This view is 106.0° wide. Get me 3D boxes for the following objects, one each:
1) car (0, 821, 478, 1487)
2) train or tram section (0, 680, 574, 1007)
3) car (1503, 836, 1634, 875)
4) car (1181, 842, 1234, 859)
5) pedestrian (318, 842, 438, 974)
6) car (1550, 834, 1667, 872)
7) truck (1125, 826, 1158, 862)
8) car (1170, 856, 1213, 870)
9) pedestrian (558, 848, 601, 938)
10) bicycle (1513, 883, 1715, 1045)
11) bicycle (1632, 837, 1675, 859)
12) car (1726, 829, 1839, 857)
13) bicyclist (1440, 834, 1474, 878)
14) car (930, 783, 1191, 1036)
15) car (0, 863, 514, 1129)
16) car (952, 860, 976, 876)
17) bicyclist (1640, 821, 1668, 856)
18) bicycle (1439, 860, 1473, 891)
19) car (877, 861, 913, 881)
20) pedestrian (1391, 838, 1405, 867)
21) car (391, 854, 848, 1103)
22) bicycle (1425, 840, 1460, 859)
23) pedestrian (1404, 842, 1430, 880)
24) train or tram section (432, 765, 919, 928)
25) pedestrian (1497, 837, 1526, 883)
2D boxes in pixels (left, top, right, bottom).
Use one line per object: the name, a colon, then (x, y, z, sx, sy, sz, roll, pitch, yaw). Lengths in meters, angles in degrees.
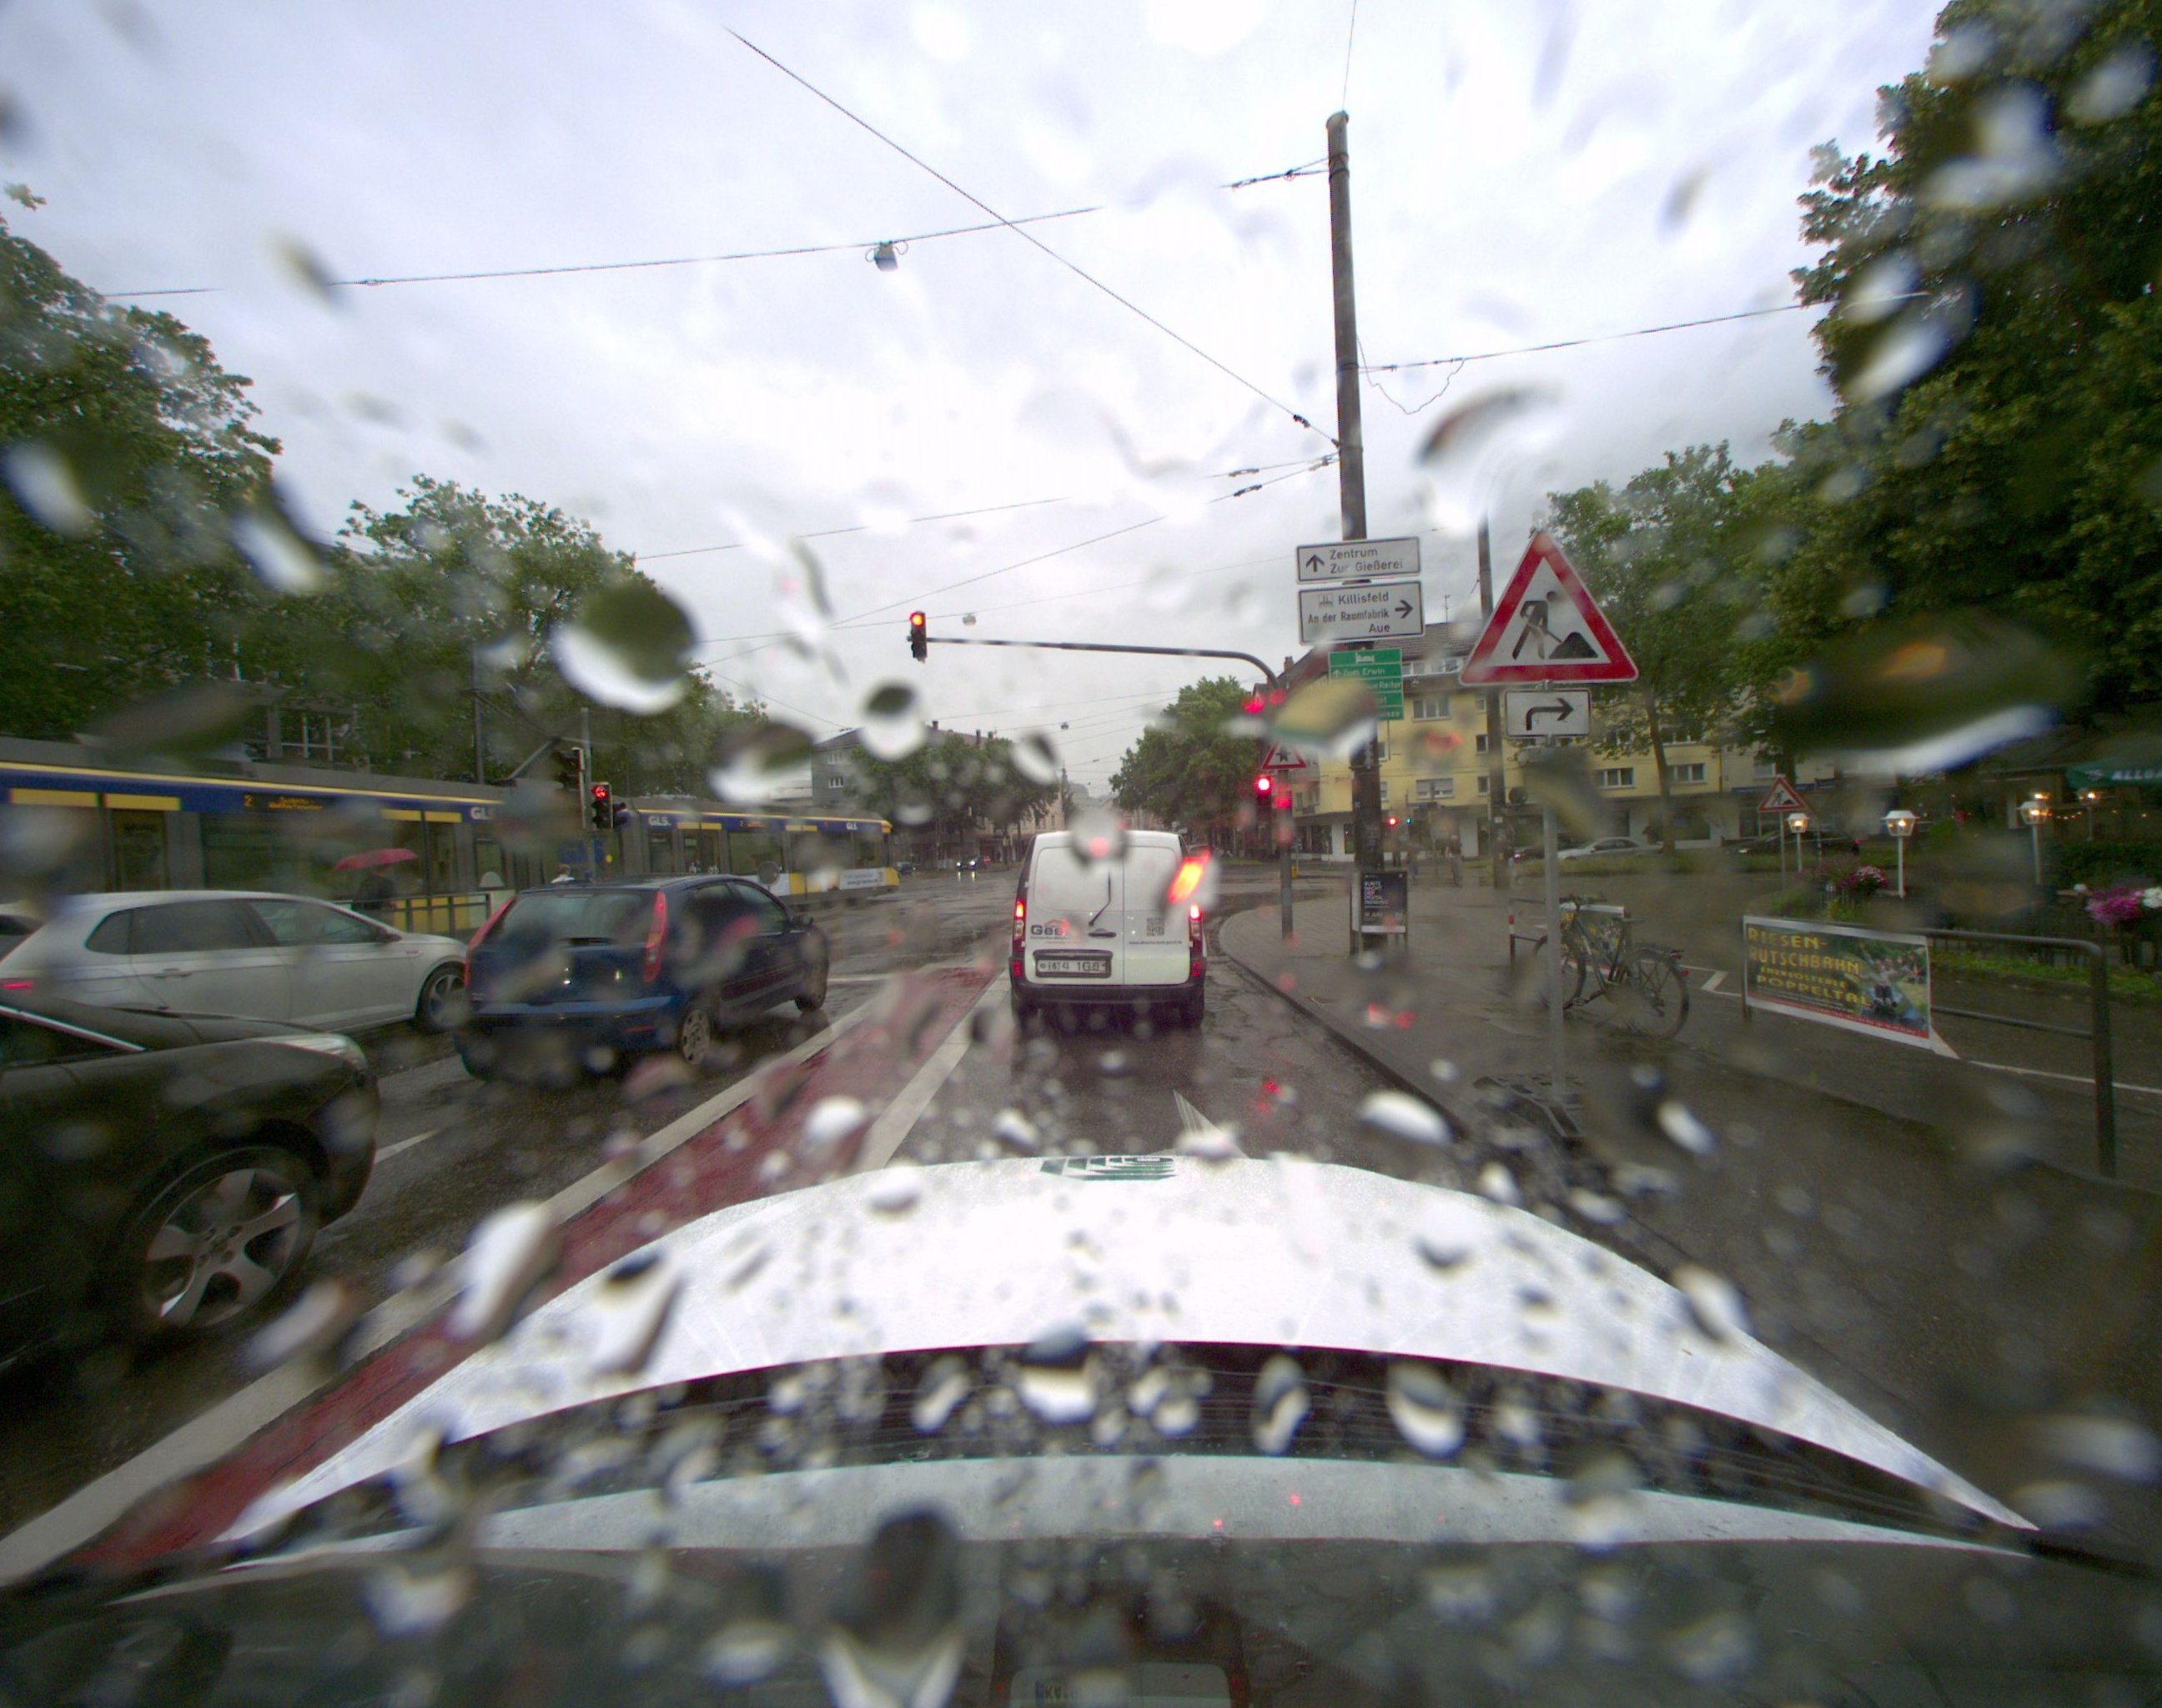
car: (-3.650, 0.765, 1.517, 1.827, 1.668, 4.174, -1, 0, 2)
train or tram section: (-13.197, -0.110, 10.712, 3.496, 3.512, 13.678, 0, 0, 5)
car: (22.854, 0.113, 38.371, 4.902, 1.643, 2.007, -1, -3, 14)
car: (10.692, -0.318, 68.869, 4.160, 1.339, 1.518, -2, 1, -6)
pedestrian: (-9.892, 0.730, 11.498, 0.763, 1.746, 0.899, -4, 1, 1)
car: (22.764, -0.048, 35.281, 3.906, 1.490, 1.815, -1, 1, 17)
truck: (9.030, -1.356, 123.346, 3.460, 5.087, 15.296, -1, 0, -2)
car: (9.572, 0.735, 70.441, 3.437, 1.130, 1.468, -1, 0, -6)
pedestrian: (-9.276, 0.703, 15.073, 0.629, 1.607, 0.735, -1, -1, -30)
bicycle: (4.484, 0.847, 7.046, 0.512, 1.107, 2.018, 1, 0, 3)
bicycle: (26.574, -0.291, 37.805, 1.631, 1.002, 0.422, -1, 0, 2)
car: (29.276, -0.429, 34.032, 3.511, 1.082, 1.248, -1, 0, 4)
bicyclist: (13.602, 0.072, 29.485, 0.874, 1.583, 0.861, -1, 0, 4)
car: (-0.092, 0.475, 9.154, 2.092, 2.012, 4.965, -2, -1, 2)
car: (-6.764, 0.849, 6.577, 1.623, 1.494, 3.783, -1, 0, 2)
car: (-11.832, 1.420, 82.632, 1.777, 1.552, 4.002, -1, 0, 2)
bicyclist: (26.597, -0.708, 37.803, 0.811, 1.615, 0.711, -1, 0, 1)
bicycle: (13.604, 0.764, 29.557, 0.456, 1.027, 1.904, -2, 1, 4)
car: (-15.503, 1.387, 68.055, 1.986, 1.454, 4.002, -2, 1, 1)
pedestrian: (16.802, -0.066, 43.181, 0.616, 1.500, 0.554, -1, 0, 12)
car: (-3.517, 0.806, 7.148, 1.720, 1.578, 3.822, -1, 0, 2)
bicycle: (24.327, -0.294, 54.856, 2.085, 1.261, 0.534, -1, 1, 16)
pedestrian: (13.744, 0.277, 33.276, 0.820, 1.534, 0.616, -1, -1, -37)
train or tram section: (-10.346, -0.148, 24.946, 3.513, 3.413, 15.574, 0, 0, 17)
pedestrian: (15.936, 0.232, 30.142, 0.896, 1.669, 1.026, -1, 0, 27)
